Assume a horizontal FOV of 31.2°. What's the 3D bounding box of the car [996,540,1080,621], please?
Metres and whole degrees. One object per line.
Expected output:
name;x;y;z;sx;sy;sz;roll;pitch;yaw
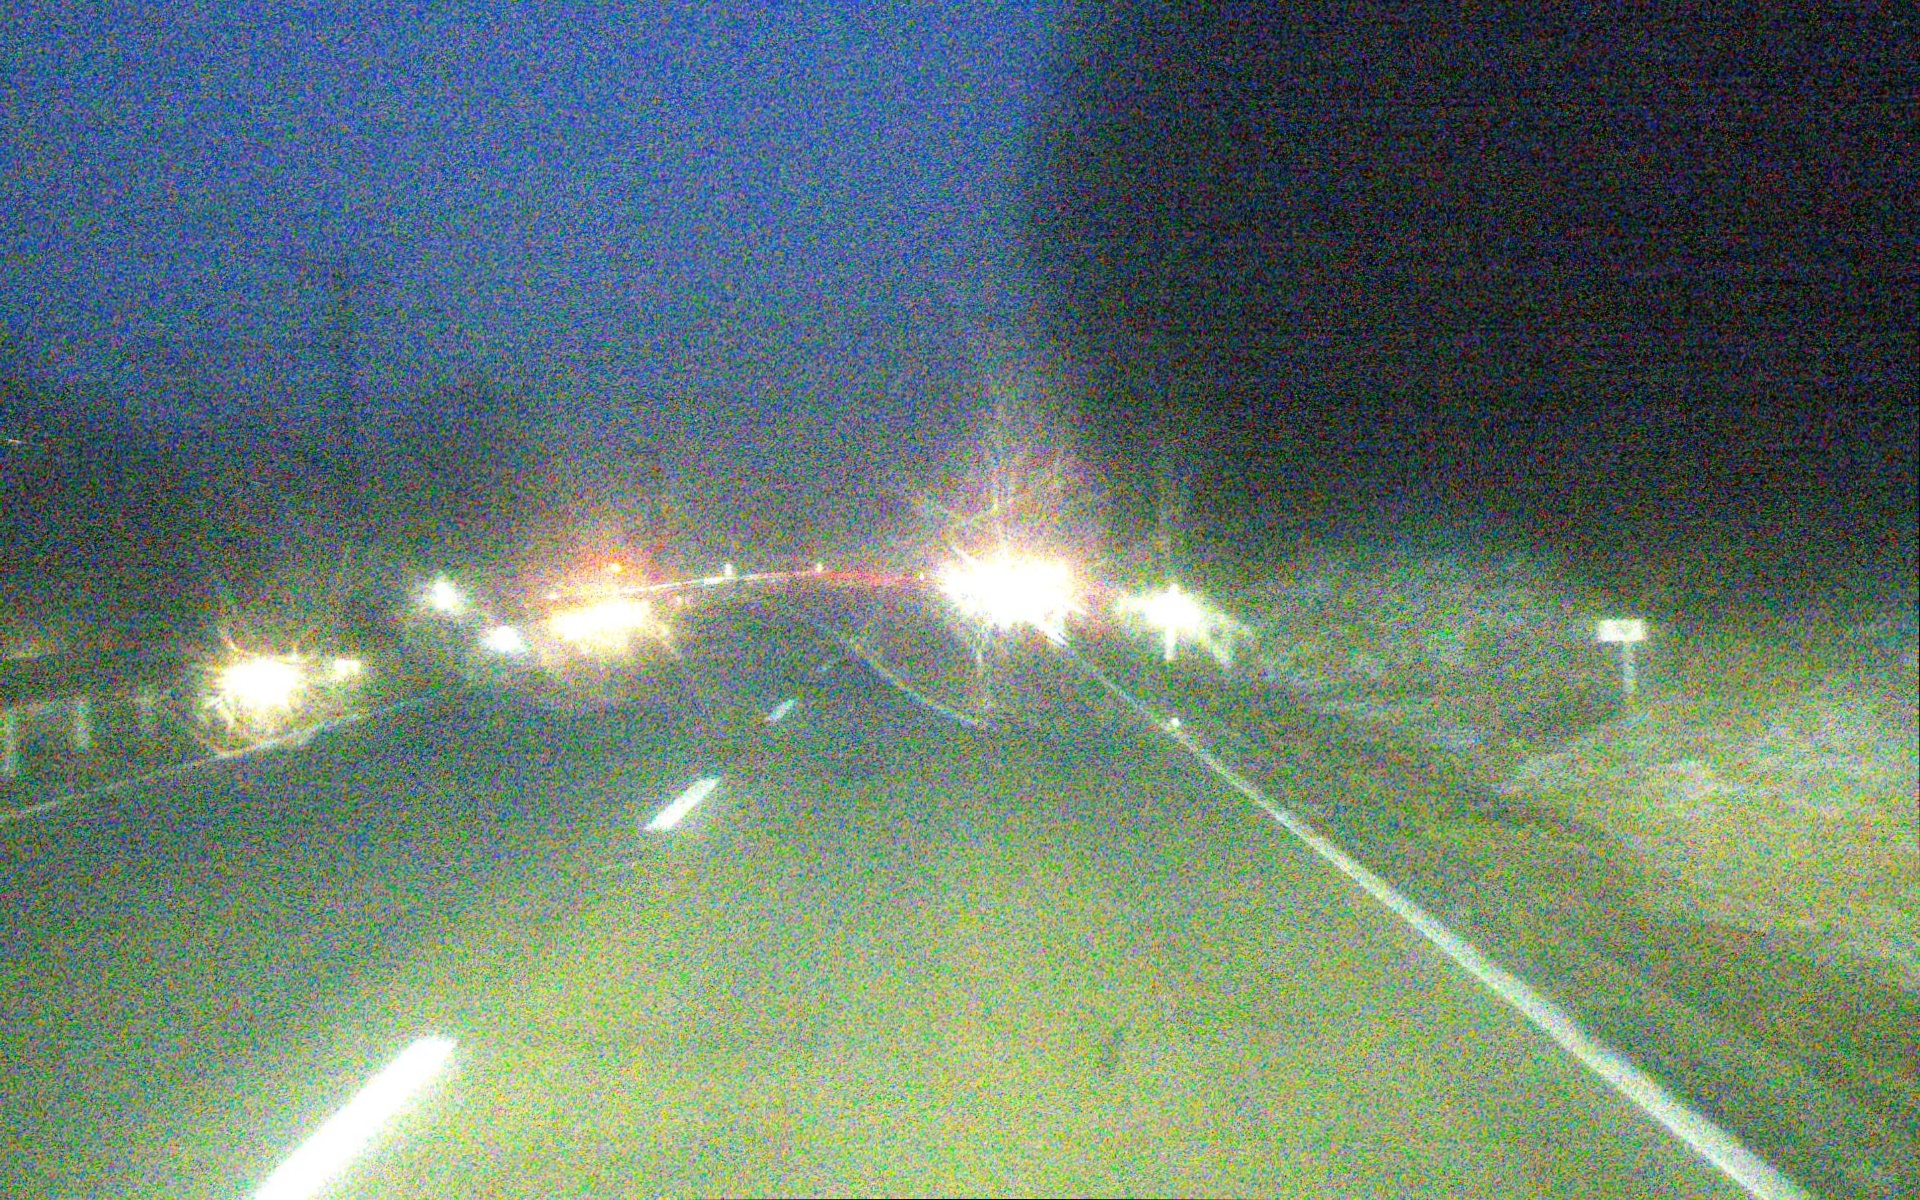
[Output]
car;2.096;-0.506;92.903;2.197;2.007;4.206;1;-2;1
